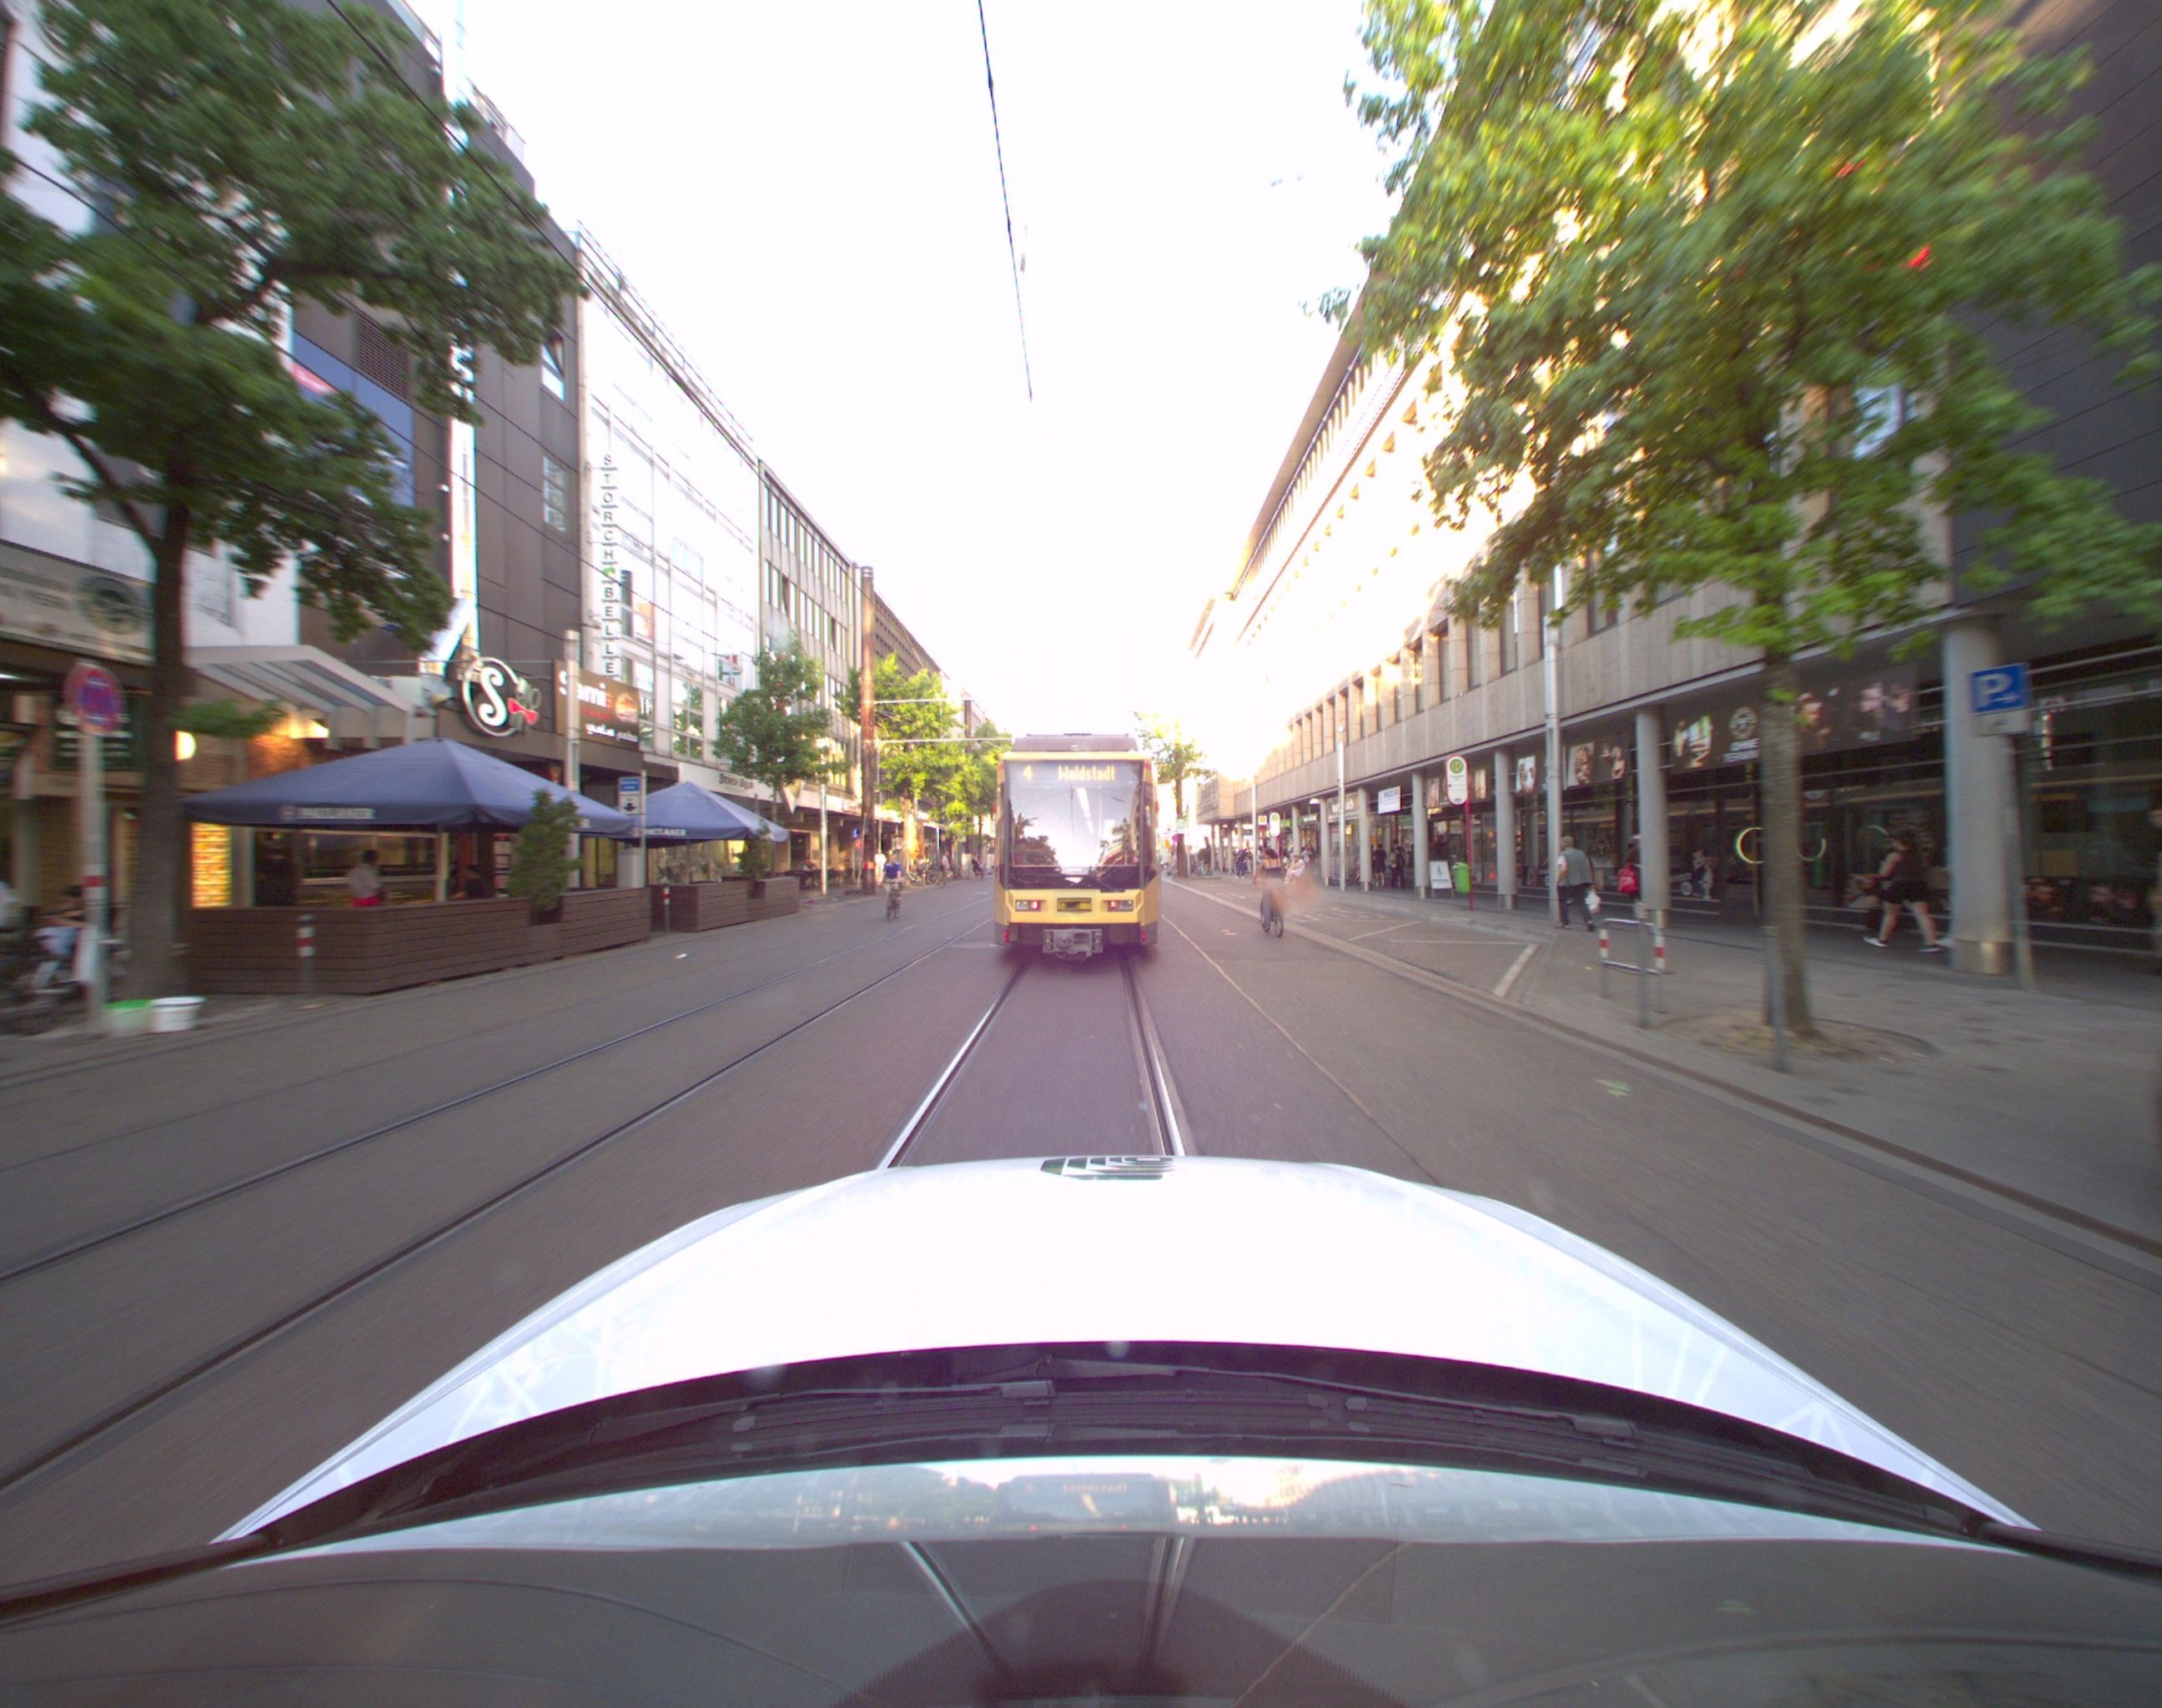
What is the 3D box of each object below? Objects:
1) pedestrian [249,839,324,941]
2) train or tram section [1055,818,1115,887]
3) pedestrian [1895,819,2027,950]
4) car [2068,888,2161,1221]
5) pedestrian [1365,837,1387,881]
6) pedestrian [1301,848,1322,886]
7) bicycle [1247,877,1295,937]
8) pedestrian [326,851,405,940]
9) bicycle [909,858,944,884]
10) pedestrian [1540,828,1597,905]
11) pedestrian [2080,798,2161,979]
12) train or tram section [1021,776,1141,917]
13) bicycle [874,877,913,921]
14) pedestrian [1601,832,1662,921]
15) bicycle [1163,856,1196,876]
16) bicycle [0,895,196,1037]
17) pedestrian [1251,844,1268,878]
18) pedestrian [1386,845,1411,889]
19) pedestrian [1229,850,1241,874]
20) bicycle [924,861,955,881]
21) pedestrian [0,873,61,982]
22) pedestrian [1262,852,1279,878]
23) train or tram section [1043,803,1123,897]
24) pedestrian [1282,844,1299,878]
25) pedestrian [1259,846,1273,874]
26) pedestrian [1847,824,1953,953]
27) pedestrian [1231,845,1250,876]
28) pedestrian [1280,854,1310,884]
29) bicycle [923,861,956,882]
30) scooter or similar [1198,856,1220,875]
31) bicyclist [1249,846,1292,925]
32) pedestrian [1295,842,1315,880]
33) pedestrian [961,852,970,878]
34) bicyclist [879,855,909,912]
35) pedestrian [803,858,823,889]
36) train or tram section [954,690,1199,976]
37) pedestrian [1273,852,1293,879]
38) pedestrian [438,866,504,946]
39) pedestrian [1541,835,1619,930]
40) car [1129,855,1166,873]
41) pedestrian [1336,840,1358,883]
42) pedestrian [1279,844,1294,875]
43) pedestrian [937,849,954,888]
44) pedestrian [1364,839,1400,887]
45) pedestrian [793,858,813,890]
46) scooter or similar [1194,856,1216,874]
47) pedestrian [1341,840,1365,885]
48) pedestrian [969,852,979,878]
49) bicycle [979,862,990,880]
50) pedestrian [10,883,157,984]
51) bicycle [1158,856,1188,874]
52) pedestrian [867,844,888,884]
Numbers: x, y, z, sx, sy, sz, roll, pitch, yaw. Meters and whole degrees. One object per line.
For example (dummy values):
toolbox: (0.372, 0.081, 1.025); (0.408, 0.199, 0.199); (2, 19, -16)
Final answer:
pedestrian: (-12.880, 0.573, 13.215); (0.601, 1.597, 0.561); (1, -1, 3)
train or tram section: (0.239, -0.068, 46.949); (3.034, 3.523, 10.530); (0, 0, 0)
pedestrian: (11.553, 0.379, 10.733); (0.594, 1.616, 1.022); (-3, 1, 0)
car: (4.470, 0.861, 1.563); (1.784, 1.348, 4.474); (-1, 0, 29)
pedestrian: (12.632, 0.196, 34.883); (0.594, 1.839, 0.829); (-3, 1, 1)
pedestrian: (10.296, 0.576, 36.331); (0.698, 1.637, 0.646); (-3, 1, 1)
bicycle: (3.776, 1.023, 16.319); (0.652, 1.060, 2.060); (1, 0, 5)
pedestrian: (-10.586, 0.601, 12.061); (0.601, 1.256, 0.561); (2, -1, 3)
bicycle: (-8.237, 0.902, 43.386); (1.798, 1.360, 0.658); (2, -1, -12)
pedestrian: (12.196, 0.296, 20.382); (0.830, 1.836, 0.944); (-2, 1, 1)
pedestrian: (11.087, 0.321, 8.282); (0.874, 1.782, 0.755); (-3, 1, 0)
train or tram section: (0.051, -0.178, 25.670); (2.997, 3.523, 10.401); (0, 0, 0)
bicycle: (-4.718, 1.105, 20.551); (0.639, 1.023, 1.588); (1, 0, -1)
pedestrian: (10.437, 0.416, 15.464); (0.594, 1.616, 0.756); (-3, 1, 1)
bicycle: (7.384, 0.875, 61.043); (2.323, 1.472, 0.790); (0, -1, -3)
bicycle: (-9.840, 1.023, 7.972); (0.815, 1.103, 2.148); (-1, 1, -25)
pedestrian: (9.407, 0.370, 43.022); (0.746, 1.782, 0.892); (0, -1, 4)
pedestrian: (12.122, 0.493, 31.137); (0.594, 1.616, 0.829); (-3, 1, 1)
pedestrian: (11.205, 0.560, 59.382); (0.698, 1.684, 0.680); (-3, 1, 1)
bicycle: (-8.258, 1.010, 47.572); (1.729, 1.126, 0.563); (2, -1, -3)
pedestrian: (-12.868, 0.864, 9.732); (0.556, 1.258, 0.606); (1, -1, 5)
pedestrian: (10.066, 0.586, 43.261); (0.737, 1.328, 0.721); (-3, 1, 1)
train or tram section: (0.136, -0.150, 36.281); (2.993, 3.523, 10.844); (-1, 0, 0)
pedestrian: (11.556, 0.398, 44.960); (0.698, 1.839, 0.829); (-3, 1, 1)
pedestrian: (11.610, 0.368, 51.139); (0.698, 1.684, 0.680); (-3, 1, 1)
pedestrian: (10.842, 0.435, 10.806); (0.594, 1.616, 0.755); (-3, 1, 0)
pedestrian: (9.063, 0.369, 46.230); (0.885, 1.782, 0.751); (0, -1, -1)
pedestrian: (9.889, 0.673, 37.684); (1.108, 1.328, 0.927); (-3, 0, 1)
bicycle: (-7.843, 0.974, 45.128); (1.731, 1.126, 0.612); (2, -1, -6)
scooter or similar: (8.763, 0.786, 55.600); (1.381, 1.210, 0.513); (-1, -1, -13)
bicyclist: (3.761, 0.622, 16.231); (0.723, 1.527, 0.734); (1, -1, 5)
pedestrian: (11.300, 0.348, 41.060); (0.698, 1.839, 0.829); (-3, 1, 1)
pedestrian: (-7.746, 0.753, 54.690); (0.573, 1.687, 0.551); (2, -1, -9)
bicyclist: (-4.713, 0.729, 20.541); (0.618, 1.416, 0.699); (0, -1, -2)
pedestrian: (-11.920, 0.862, 36.208); (0.572, 1.319, 0.725); (2, -1, 1)
train or tram section: (-0.018, -0.230, 15.289); (3.006, 3.524, 10.369); (0, 0, 0)
pedestrian: (10.280, 0.590, 41.451); (0.803, 1.328, 0.626); (-3, 1, 1)
pedestrian: (-9.959, 0.832, 13.315); (0.556, 1.256, 0.606); (2, -1, 2)
pedestrian: (8.550, 0.472, 13.985); (0.874, 1.581, 0.755); (0, 1, 0)
car: (6.142, 0.903, 74.583); (1.626, 1.594, 3.944); (-1, -1, 35)
pedestrian: (11.606, 0.326, 35.563); (0.698, 1.839, 0.706); (-3, 1, 1)
pedestrian: (12.617, 0.348, 50.023); (0.698, 1.839, 0.829); (-3, 1, 1)
pedestrian: (-6.739, 0.716, 40.515); (0.749, 1.880, 0.575); (2, -1, -3)
pedestrian: (12.134, 0.339, 32.871); (1.049, 1.876, 0.929); (-3, 1, 1)
pedestrian: (-11.970, 0.854, 35.076); (0.572, 1.319, 0.725); (2, -1, 1)
scooter or similar: (8.615, 0.772, 56.493); (1.378, 1.250, 0.555); (-2, -1, -7)
pedestrian: (11.432, 0.335, 34.261); (0.698, 1.839, 0.829); (-3, 1, 1)
pedestrian: (-7.113, 0.733, 54.103); (0.550, 1.687, 0.575); (2, -1, -3)
bicycle: (-6.334, 1.115, 53.595); (0.610, 1.126, 2.248); (2, -1, -4)
pedestrian: (-12.008, 0.931, 9.823); (0.816, 1.120, 0.780); (2, -1, 11)
bicycle: (7.331, 0.869, 65.136); (2.323, 1.472, 0.790); (0, -1, -3)
pedestrian: (-10.233, 0.504, 40.976); (0.846, 2.014, 0.921); (0, -1, 1)
